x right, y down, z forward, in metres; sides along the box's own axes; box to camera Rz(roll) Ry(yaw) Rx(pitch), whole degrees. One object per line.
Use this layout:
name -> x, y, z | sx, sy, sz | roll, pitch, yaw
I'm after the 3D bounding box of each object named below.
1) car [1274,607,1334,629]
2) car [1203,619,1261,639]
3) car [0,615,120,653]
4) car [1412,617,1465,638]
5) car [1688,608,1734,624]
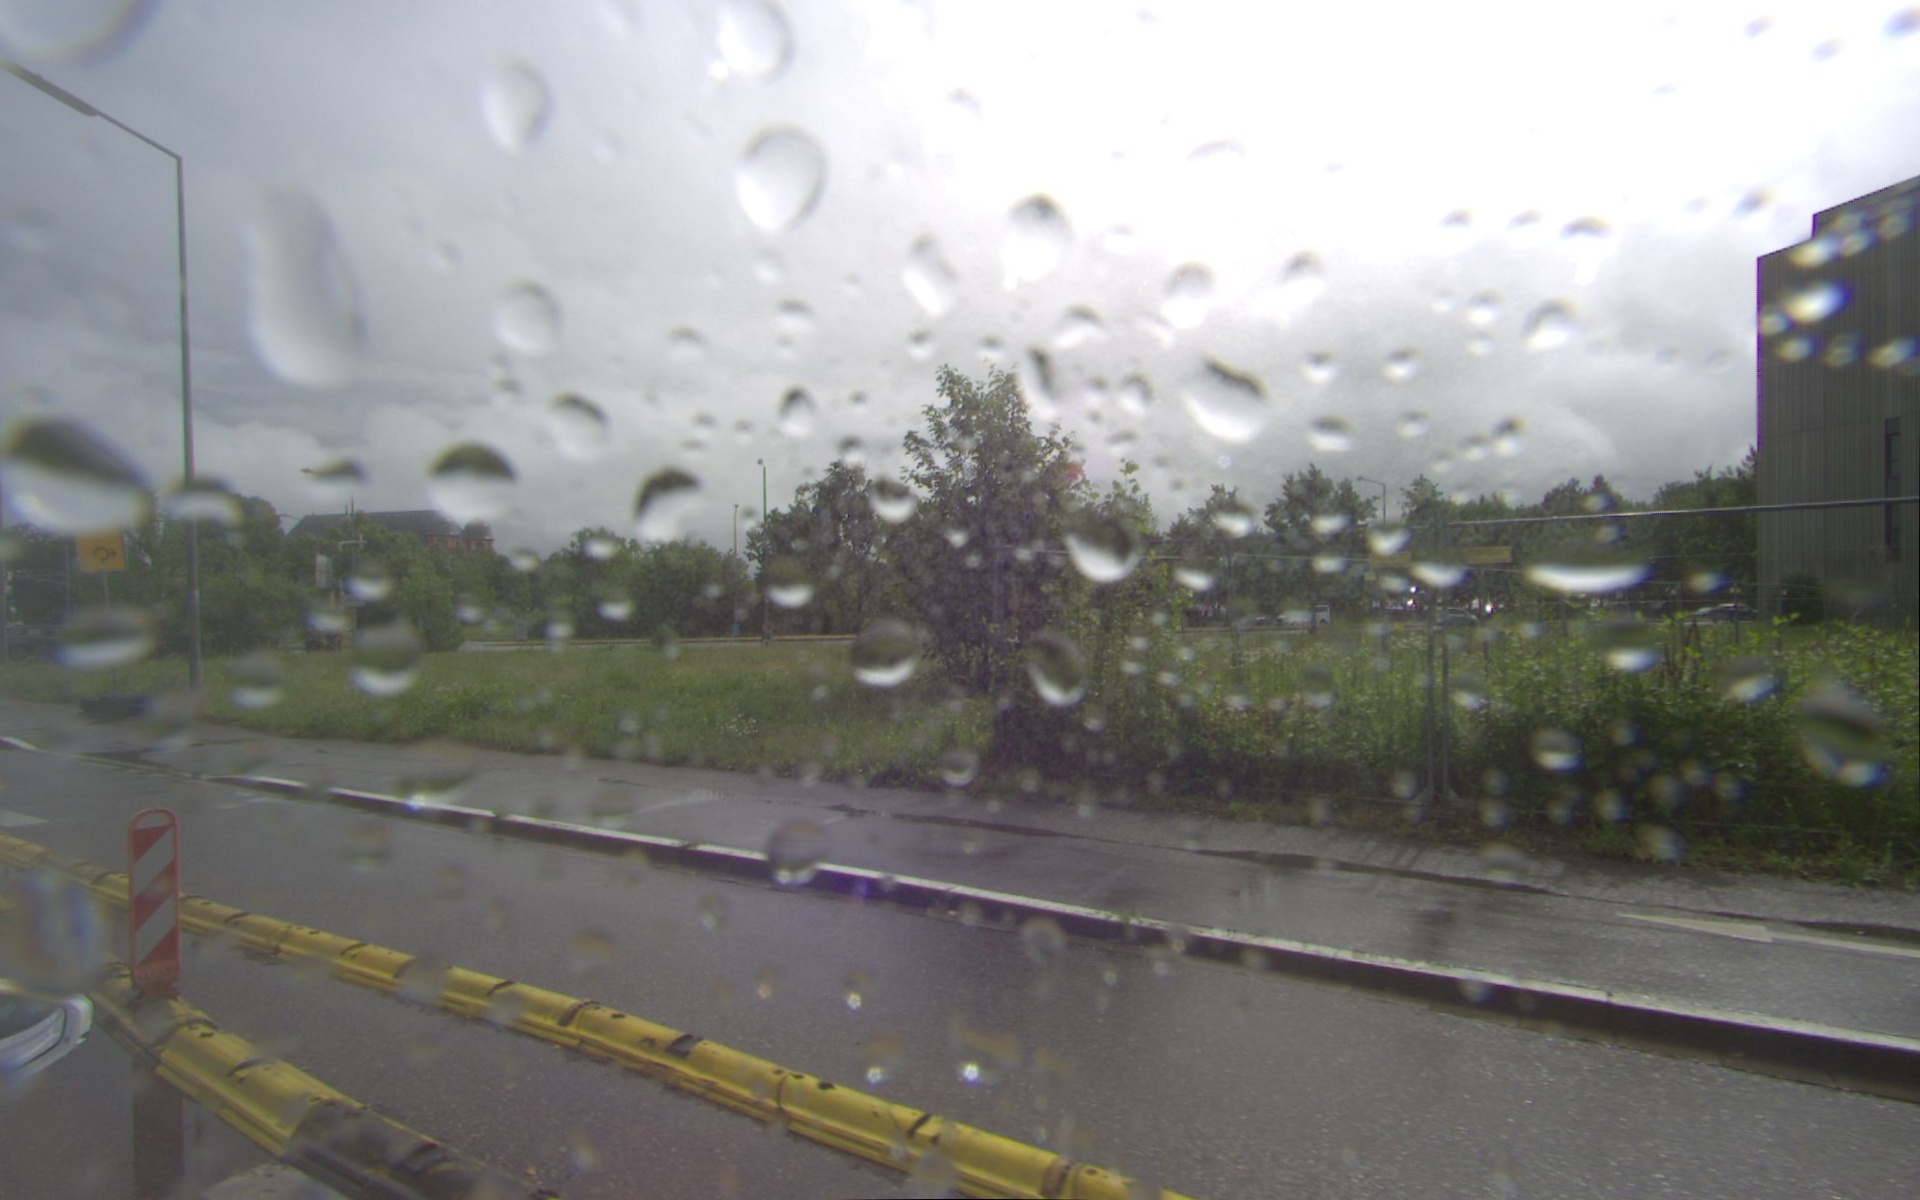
car -> 30.724, 1.581, 89.419 | 4.874, 1.944, 1.996 | 0, 0, -17
car -> 22.527, 2.384, 83.024 | 4.227, 1.581, 1.911 | 0, 0, -15
car -> -41.267, 1.518, 45.960 | 1.650, 1.666, 3.926 | -1, -1, 39
car -> 36.693, 2.119, 76.800 | 3.465, 1.567, 1.629 | 0, 0, -15
car -> 76.419, 1.592, 101.926 | 4.158, 1.579, 1.541 | 0, 0, -15
